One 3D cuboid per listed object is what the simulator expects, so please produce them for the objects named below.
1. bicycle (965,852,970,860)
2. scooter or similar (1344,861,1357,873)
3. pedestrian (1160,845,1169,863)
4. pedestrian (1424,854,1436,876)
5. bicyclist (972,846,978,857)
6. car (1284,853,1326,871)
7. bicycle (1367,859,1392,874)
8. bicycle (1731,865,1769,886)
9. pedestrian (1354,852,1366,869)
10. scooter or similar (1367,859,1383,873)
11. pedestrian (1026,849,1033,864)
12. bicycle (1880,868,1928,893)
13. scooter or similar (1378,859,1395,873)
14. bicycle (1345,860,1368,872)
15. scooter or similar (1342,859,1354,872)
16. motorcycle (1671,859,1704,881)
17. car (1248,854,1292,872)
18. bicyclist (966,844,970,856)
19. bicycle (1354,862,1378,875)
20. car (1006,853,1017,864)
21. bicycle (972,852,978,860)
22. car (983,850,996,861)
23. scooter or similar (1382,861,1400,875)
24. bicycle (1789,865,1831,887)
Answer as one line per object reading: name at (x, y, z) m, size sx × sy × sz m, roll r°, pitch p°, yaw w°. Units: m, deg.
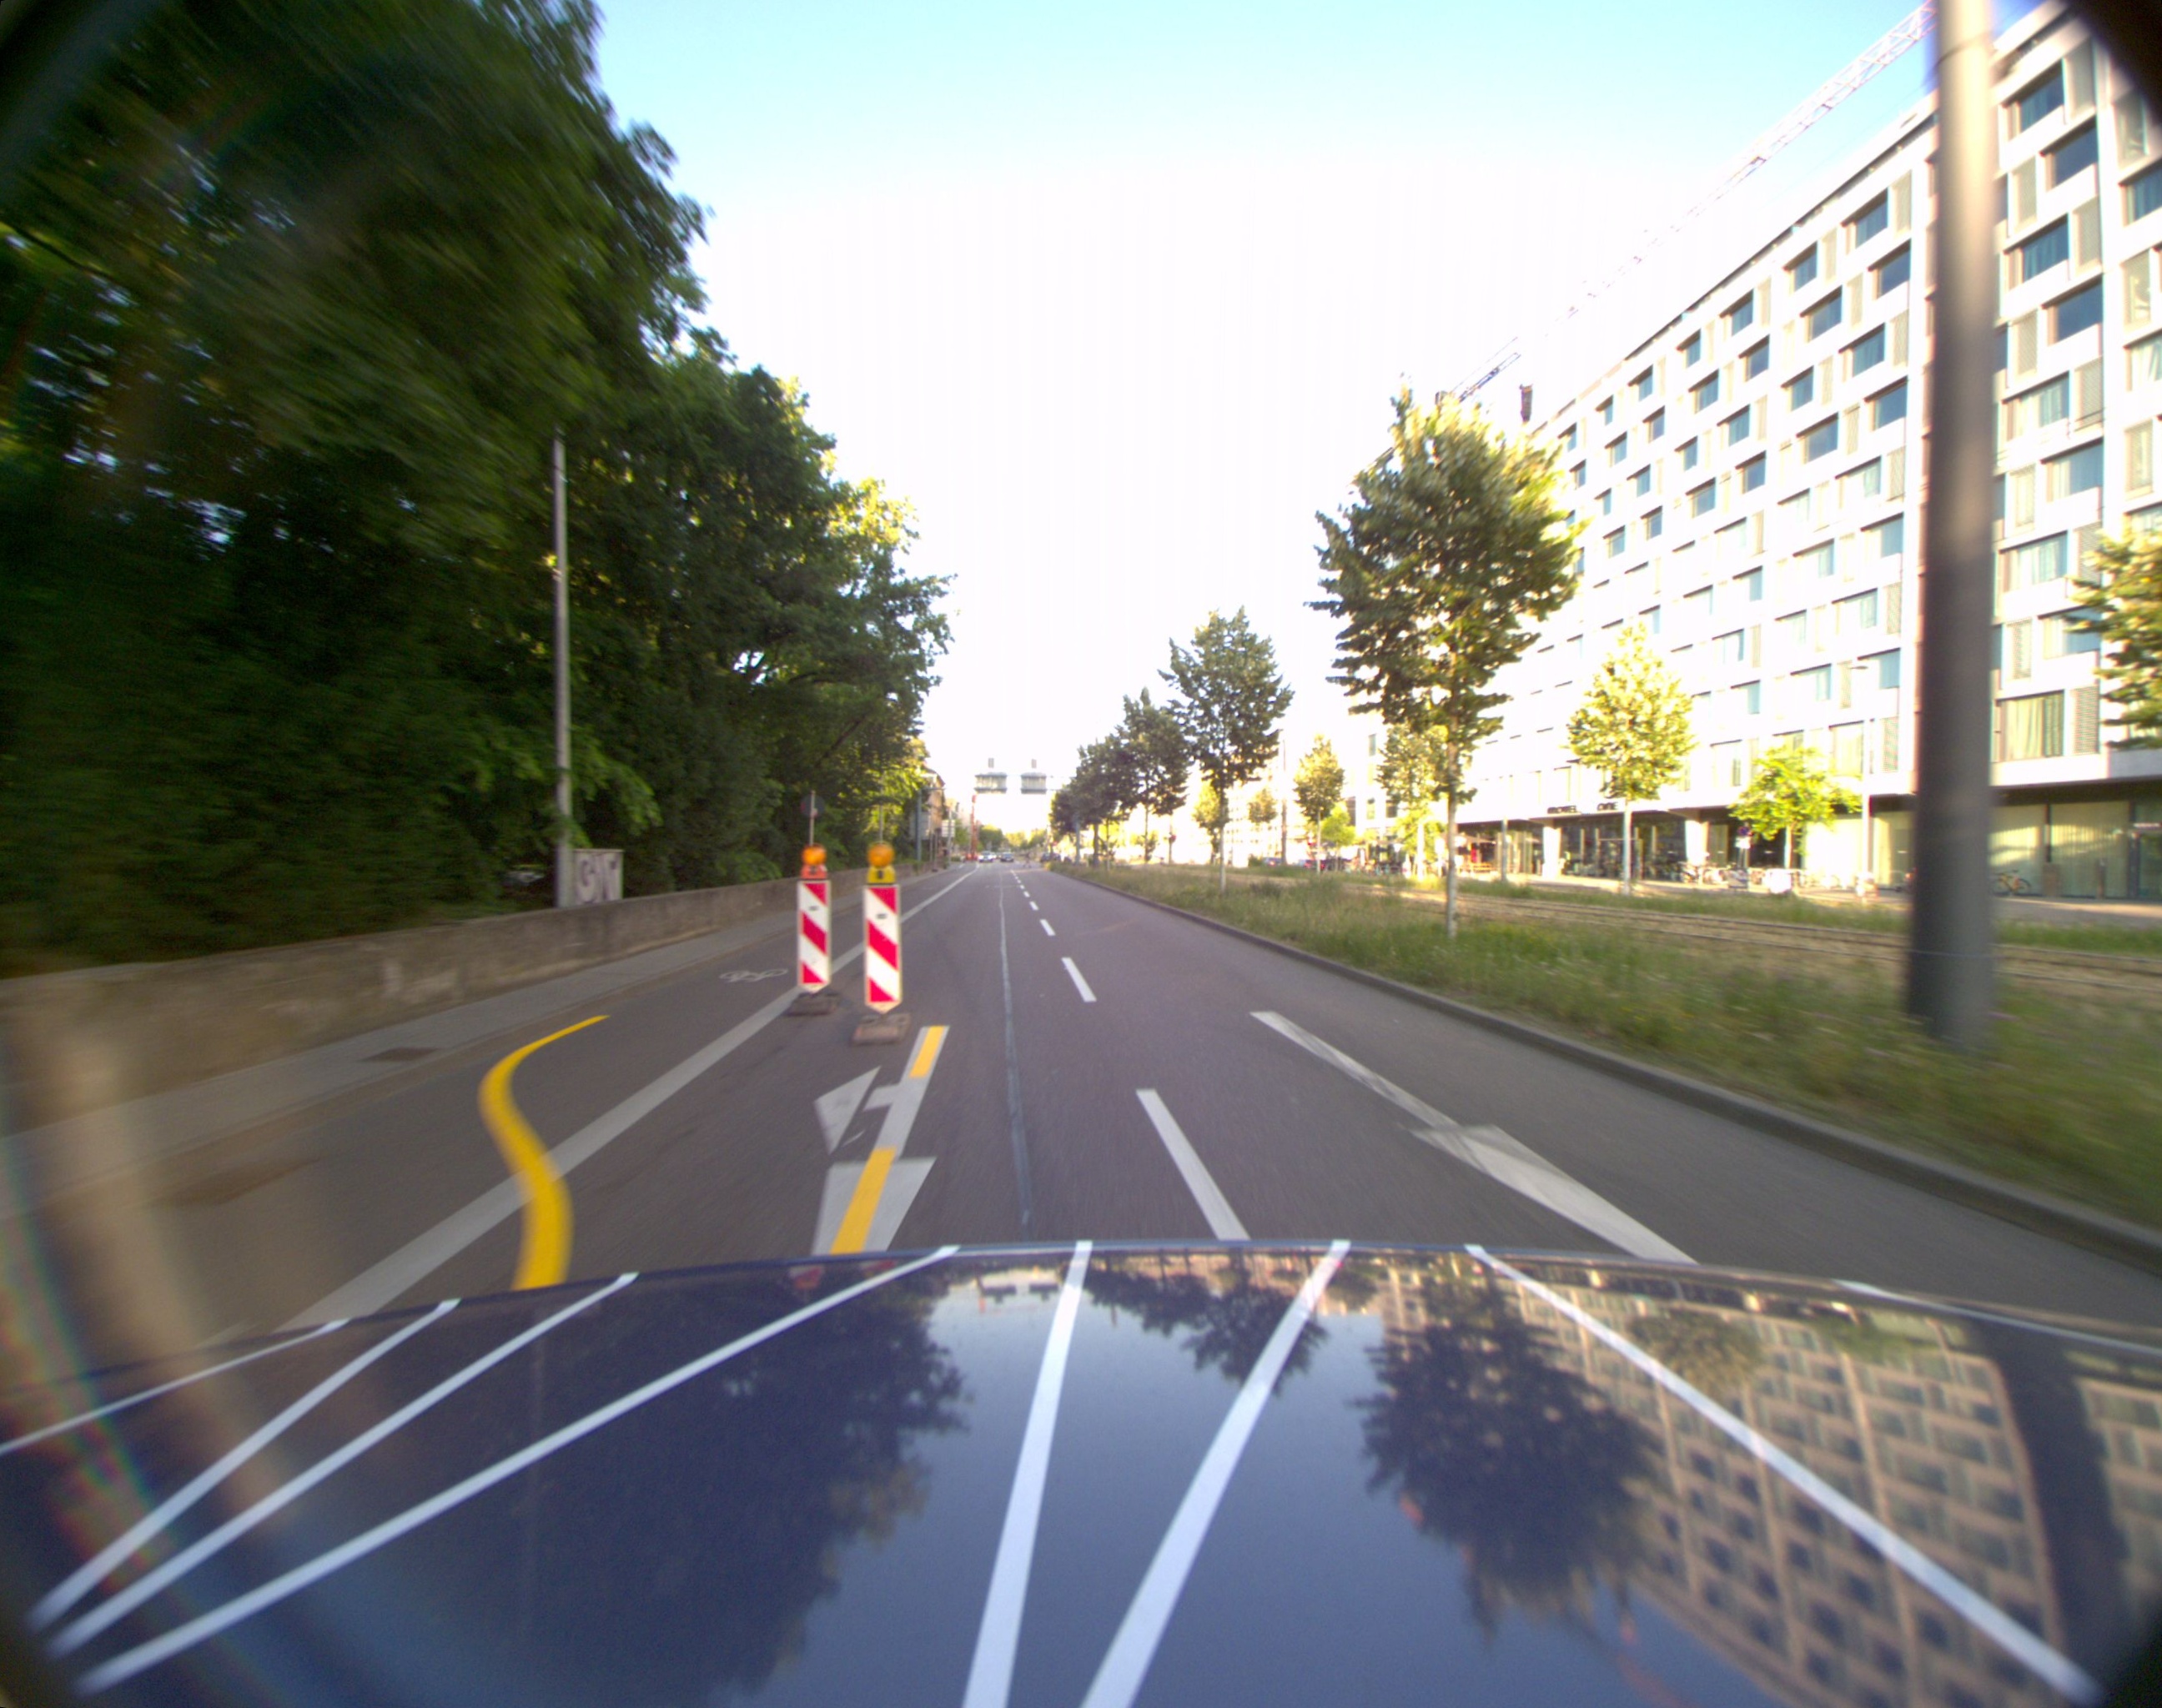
bicycle at (-16.711, 0.269, 111.999) m, size 0.529 × 1.046 × 2.046 m, roll 3°, pitch 2°, yaw -3°
scooter or similar at (23.818, 1.177, 67.114) m, size 1.009 × 1.028 × 0.291 m, roll 0°, pitch 2°, yaw -5°
pedestrian at (8.518, 0.039, 77.732) m, size 0.708 × 1.825 × 0.762 m, roll -2°, pitch 1°, yaw -7°
pedestrian at (26.423, 0.817, 57.522) m, size 0.498 × 1.591 × 0.603 m, roll -2°, pitch 1°, yaw -5°
bicyclist at (-15.626, -0.360, 112.247) m, size 0.705 × 1.691 × 0.768 m, roll -1°, pitch 0°, yaw -3°
car at (18.941, 0.665, 64.465) m, size 1.891 × 1.431 × 4.221 m, roll 0°, pitch 0°, yaw -7°
bicycle at (24.452, 1.010, 62.309) m, size 1.915 × 1.192 × 0.442 m, roll -1°, pitch 1°, yaw -9°
bicycle at (33.645, 1.087, 38.193) m, size 1.748 × 1.014 × 0.421 m, roll 0°, pitch 1°, yaw -10°
pedestrian at (26.226, 0.626, 71.442) m, size 0.682 × 1.594 × 0.707 m, roll -3°, pitch 1°, yaw -37°
scooter or similar at (24.445, 0.991, 63.115) m, size 1.185 × 1.210 × 0.338 m, roll 1°, pitch 1°, yaw -5°
pedestrian at (-5.105, 0.265, 75.494) m, size 0.580 × 1.495 × 0.619 m, roll 2°, pitch 1°, yaw 4°
bicycle at (34.111, 1.077, 31.499) m, size 1.793 × 1.014 × 0.421 m, roll 0°, pitch 1°, yaw -10°
scooter or similar at (24.532, 0.969, 61.041) m, size 1.185 × 1.157 × 0.338 m, roll 1°, pitch 1°, yaw -5°
bicycle at (23.771, 1.023, 65.544) m, size 1.915 × 1.053 × 0.442 m, roll -1°, pitch 1°, yaw -9°
scooter or similar at (23.945, 1.029, 68.234) m, size 0.975 × 1.079 × 0.337 m, roll -2°, pitch 4°, yaw -5°
motorcycle at (33.505, 0.891, 41.972) m, size 1.900 × 1.165 × 0.515 m, roll -1°, pitch 1°, yaw -21°
car at (15.966, 0.725, 64.334) m, size 2.021 × 1.432 × 4.798 m, roll 2°, pitch 0°, yaw -6°
bicyclist at (-16.675, -0.558, 112.115) m, size 0.510 × 1.691 × 0.767 m, roll 3°, pitch 2°, yaw -3°
bicycle at (24.071, 1.210, 64.262) m, size 1.915 × 1.053 × 0.442 m, roll -1°, pitch 1°, yaw -9°
car at (-10.555, 0.691, 115.721) m, size 1.703 × 1.588 × 4.258 m, roll 0°, pitch 0°, yaw -5°
bicycle at (-15.616, 0.308, 112.061) m, size 0.721 × 1.045 × 2.042 m, roll -2°, pitch 2°, yaw -3°
car at (-13.821, 0.182, 114.612) m, size 1.834 × 1.588 × 4.258 m, roll 0°, pitch 0°, yaw -5°
scooter or similar at (24.357, 1.109, 59.731) m, size 1.185 × 1.051 × 0.338 m, roll -4°, pitch 0°, yaw -5°
bicycle at (34.045, 1.047, 35.503) m, size 1.793 × 1.014 × 0.421 m, roll 0°, pitch 1°, yaw -10°
